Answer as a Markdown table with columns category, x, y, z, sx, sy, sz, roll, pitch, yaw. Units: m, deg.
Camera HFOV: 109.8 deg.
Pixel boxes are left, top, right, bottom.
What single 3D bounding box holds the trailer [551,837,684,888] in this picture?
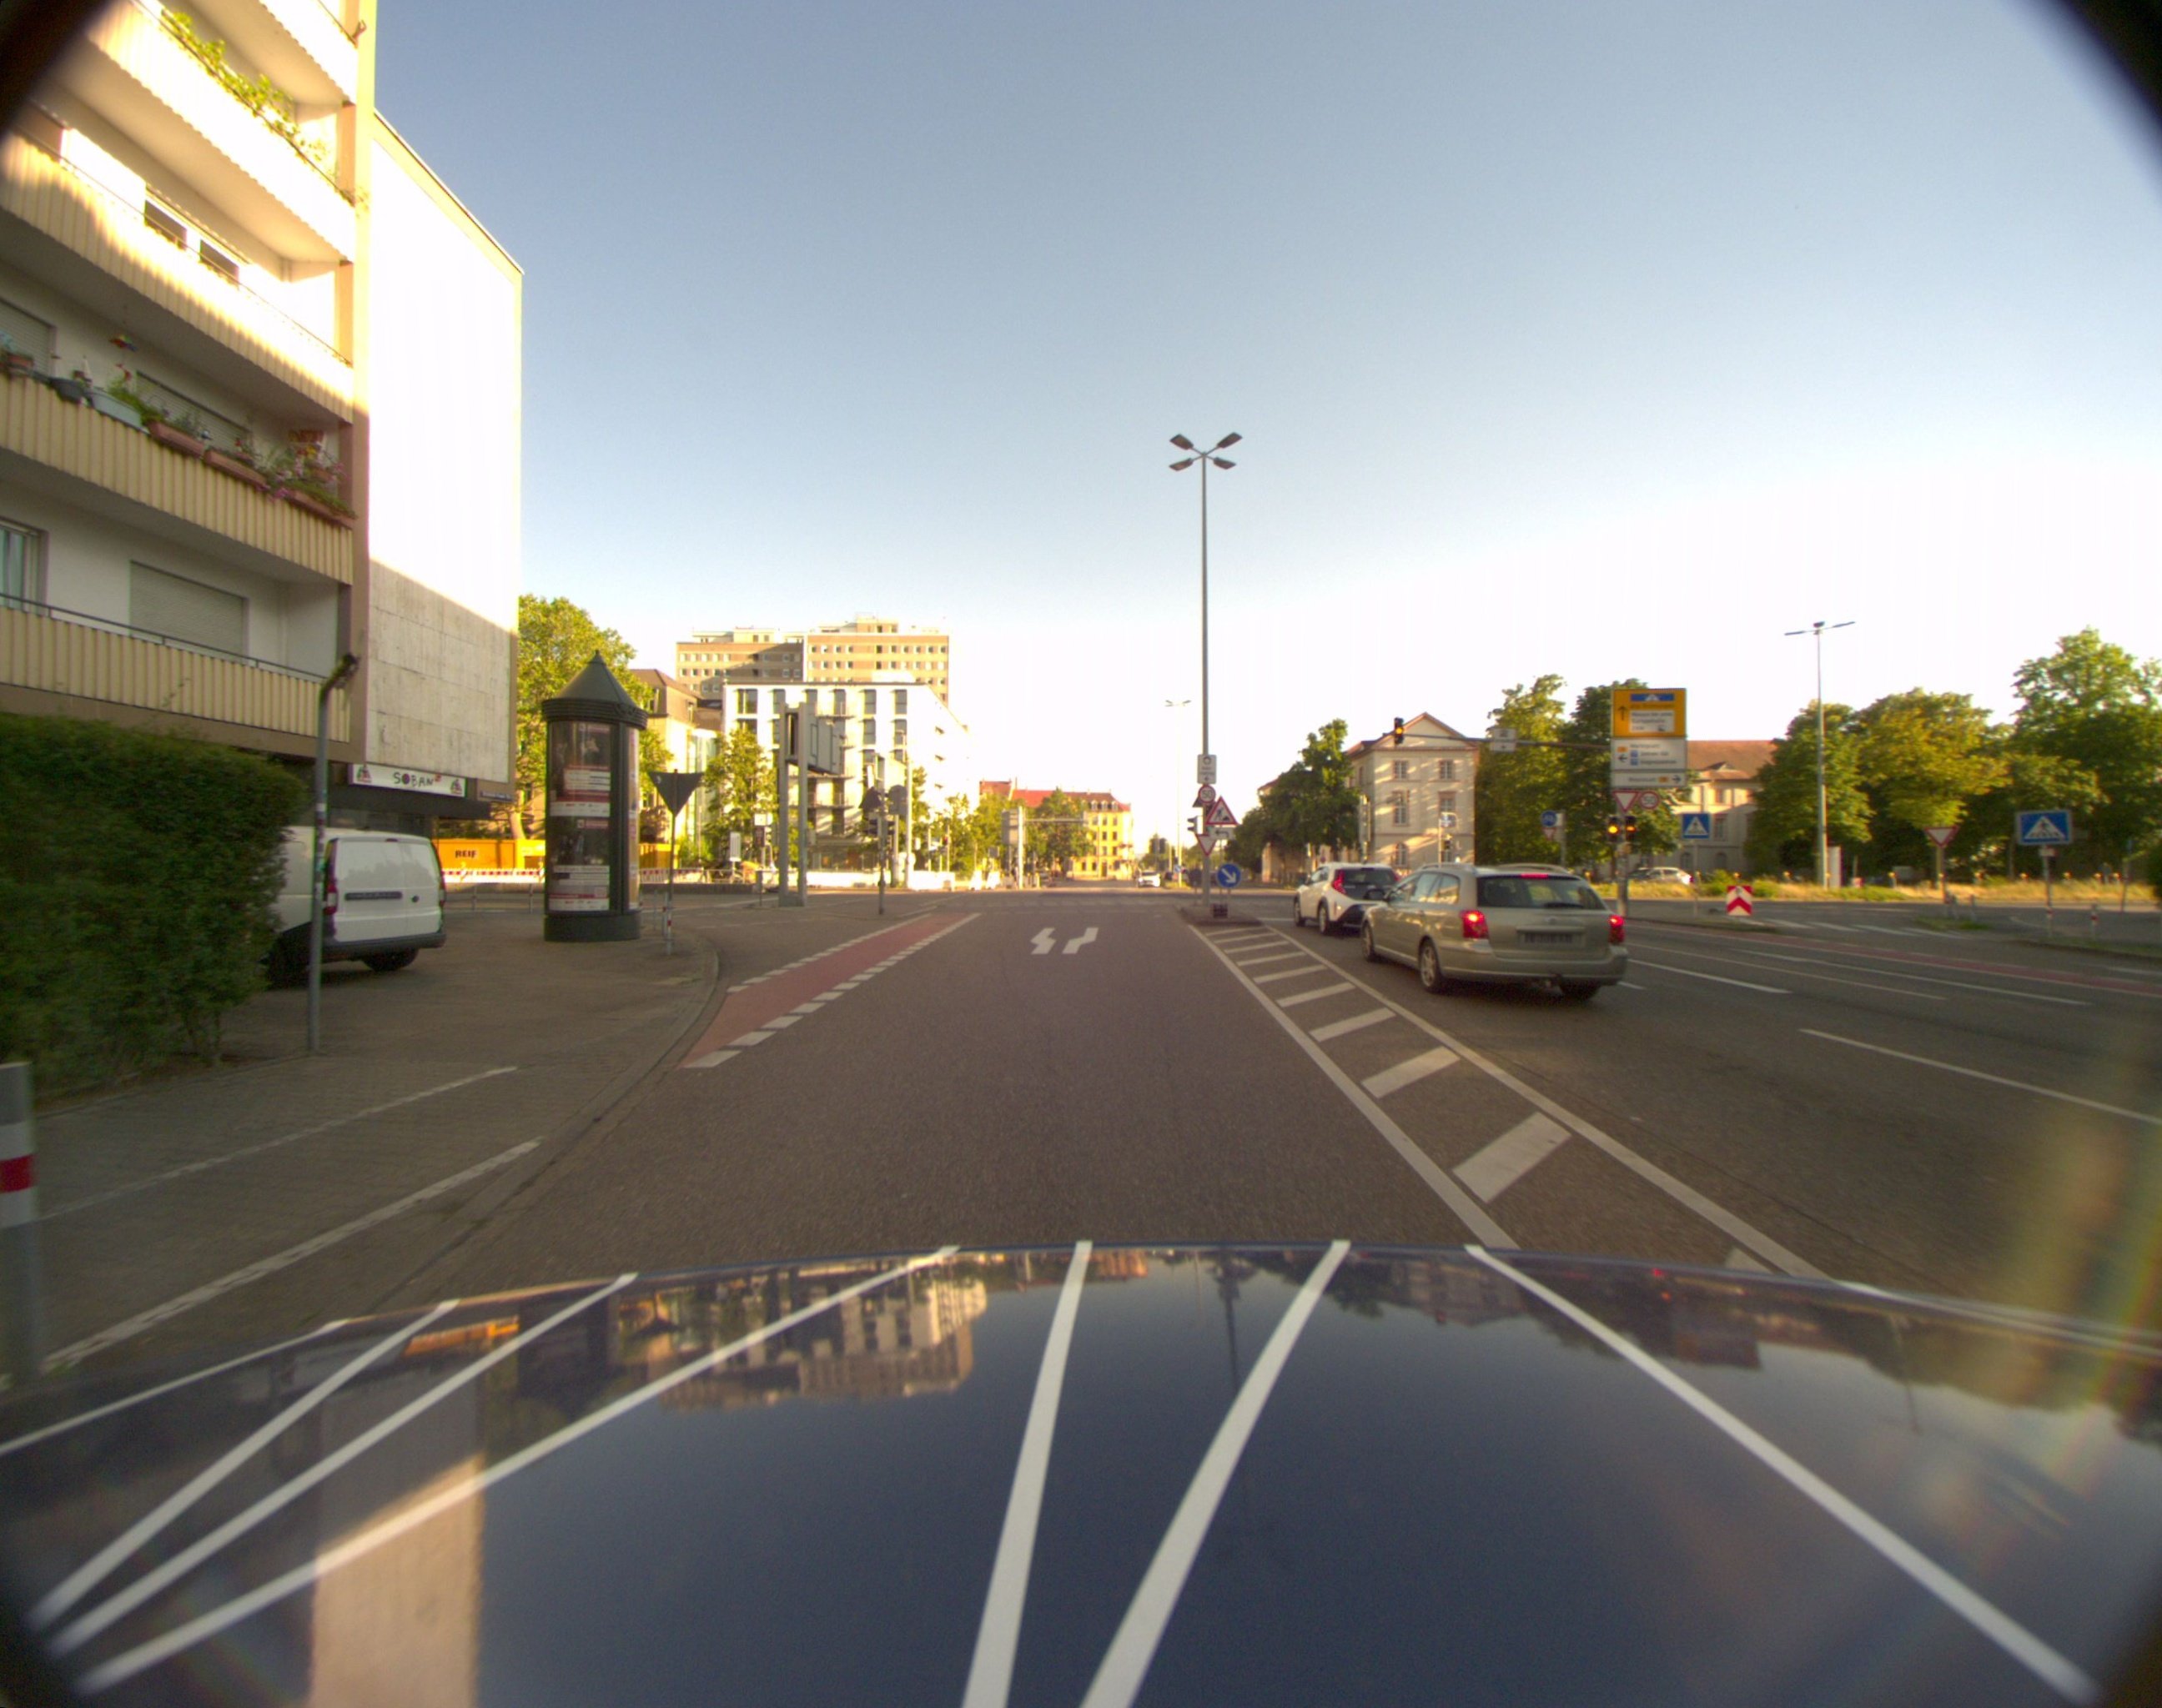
| category | x | y | z | sx | sy | sz | roll | pitch | yaw |
| --- | --- | --- | --- | --- | --- | --- | --- | --- | --- |
| trailer | -26.946 | 0.510 | 44.402 | 6.126 | 2.850 | 2.541 | 0 | -1 | -2 |

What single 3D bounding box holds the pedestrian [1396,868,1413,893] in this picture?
| category | x | y | z | sx | sy | sz | roll | pitch | yaw |
| --- | --- | --- | --- | --- | --- | --- | --- | --- | --- |
| pedestrian | 21.549 | 1.749 | 50.604 | 0.678 | 1.641 | 0.883 | 0 | -1 | -5 |

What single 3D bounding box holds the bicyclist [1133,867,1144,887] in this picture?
| category | x | y | z | sx | sy | sz | roll | pitch | yaw |
| --- | --- | --- | --- | --- | --- | --- | --- | --- | --- |
| bicyclist | 4.608 | 1.830 | 61.460 | 0.838 | 1.594 | 1.024 | 0 | -1 | 2 |

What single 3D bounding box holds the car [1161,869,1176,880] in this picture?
| category | x | y | z | sx | sy | sz | roll | pitch | yaw |
| --- | --- | --- | --- | --- | --- | --- | --- | --- | --- |
| car | 12.421 | 2.876 | 107.547 | 1.764 | 1.453 | 4.294 | 0 | -1 | 2 |

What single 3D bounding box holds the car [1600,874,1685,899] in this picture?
| category | x | y | z | sx | sy | sz | roll | pitch | yaw |
| --- | --- | --- | --- | --- | --- | --- | --- | --- | --- |
| car | 33.590 | 1.912 | 45.511 | 3.644 | 1.437 | 2.000 | 0 | -1 | 0 |

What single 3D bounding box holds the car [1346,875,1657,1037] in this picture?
| category | x | y | z | sx | sy | sz | roll | pitch | yaw |
| --- | --- | --- | --- | --- | --- | --- | --- | --- | --- |
| car | 4.846 | 1.036 | 9.635 | 1.831 | 1.505 | 4.608 | 0 | -1 | 6 |

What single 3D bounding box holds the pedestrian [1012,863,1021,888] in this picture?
| category | x | y | z | sx | sy | sz | roll | pitch | yaw |
| --- | --- | --- | --- | --- | --- | --- | --- | --- | --- |
| pedestrian | -4.880 | 1.605 | 57.490 | 0.500 | 1.866 | 0.601 | 1 | -1 | -25 |

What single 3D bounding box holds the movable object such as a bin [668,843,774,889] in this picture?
| category | x | y | z | sx | sy | sz | roll | pitch | yaw |
| --- | --- | --- | --- | --- | --- | --- | --- | --- | --- |
| movable object such as a bin | -20.861 | 0.713 | 44.185 | 5.210 | 2.578 | 2.001 | 0 | -1 | 3 |

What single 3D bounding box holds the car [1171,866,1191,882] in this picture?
| category | x | y | z | sx | sy | sz | roll | pitch | yaw |
| --- | --- | --- | --- | --- | --- | --- | --- | --- | --- |
| car | 11.763 | 2.343 | 89.259 | 1.832 | 1.836 | 4.948 | 0 | -1 | 2 |

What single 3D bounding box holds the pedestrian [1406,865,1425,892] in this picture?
| category | x | y | z | sx | sy | sz | roll | pitch | yaw |
| --- | --- | --- | --- | --- | --- | --- | --- | --- | --- |
| pedestrian | 23.698 | 1.736 | 53.856 | 0.820 | 1.837 | 1.170 | 0 | -1 | -5 |

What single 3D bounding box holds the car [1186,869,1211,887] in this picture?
| category | x | y | z | sx | sy | sz | roll | pitch | yaw |
| --- | --- | --- | --- | --- | --- | --- | --- | --- | --- |
| car | 10.889 | 2.216 | 70.775 | 1.832 | 1.696 | 4.443 | 0 | -1 | 3 |

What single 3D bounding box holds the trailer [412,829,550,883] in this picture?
| category | x | y | z | sx | sy | sz | roll | pitch | yaw |
| --- | --- | --- | --- | --- | --- | --- | --- | --- | --- |
| trailer | -34.819 | 0.148 | 44.236 | 6.124 | 2.997 | 2.408 | 0 | -1 | 2 |

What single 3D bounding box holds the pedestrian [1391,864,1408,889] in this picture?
| category | x | y | z | sx | sy | sz | roll | pitch | yaw |
| --- | --- | --- | --- | --- | --- | --- | --- | --- | --- |
| pedestrian | 22.558 | 1.598 | 53.842 | 0.678 | 1.698 | 1.084 | 0 | -1 | -5 |

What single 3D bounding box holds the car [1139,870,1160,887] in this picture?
| category | x | y | z | sx | sy | sz | roll | pitch | yaw |
| --- | --- | --- | --- | --- | --- | --- | --- | --- | --- |
| car | 5.909 | 2.102 | 65.873 | 1.764 | 1.489 | 3.710 | 0 | -1 | 4 |

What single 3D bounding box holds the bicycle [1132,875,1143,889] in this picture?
| category | x | y | z | sx | sy | sz | roll | pitch | yaw |
| --- | --- | --- | --- | --- | --- | --- | --- | --- | --- |
| bicycle | 4.587 | 2.273 | 61.532 | 0.833 | 1.101 | 2.081 | 0 | -1 | 2 |

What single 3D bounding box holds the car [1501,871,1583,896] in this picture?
| category | x | y | z | sx | sy | sz | roll | pitch | yaw |
| --- | --- | --- | --- | --- | --- | --- | --- | --- | --- |
| car | 27.291 | 1.753 | 45.052 | 3.644 | 1.437 | 2.000 | 0 | -1 | 0 |

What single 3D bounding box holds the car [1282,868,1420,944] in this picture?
| category | x | y | z | sx | sy | sz | roll | pitch | yaw |
| --- | --- | --- | --- | --- | --- | --- | --- | --- | --- |
| car | 5.702 | 1.035 | 16.548 | 1.832 | 1.452 | 3.904 | 0 | -1 | 4 |

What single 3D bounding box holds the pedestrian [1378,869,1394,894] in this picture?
| category | x | y | z | sx | sy | sz | roll | pitch | yaw |
| --- | --- | --- | --- | --- | --- | --- | --- | --- | --- |
| pedestrian | 20.224 | 1.809 | 50.405 | 0.621 | 1.641 | 0.889 | 0 | -1 | -5 |

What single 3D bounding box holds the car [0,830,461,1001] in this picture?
| category | x | y | z | sx | sy | sz | roll | pitch | yaw |
| --- | --- | --- | --- | --- | --- | --- | --- | --- | --- |
| car | -10.236 | 0.675 | 9.095 | 4.097 | 1.803 | 1.862 | 0 | -1 | 1 |
